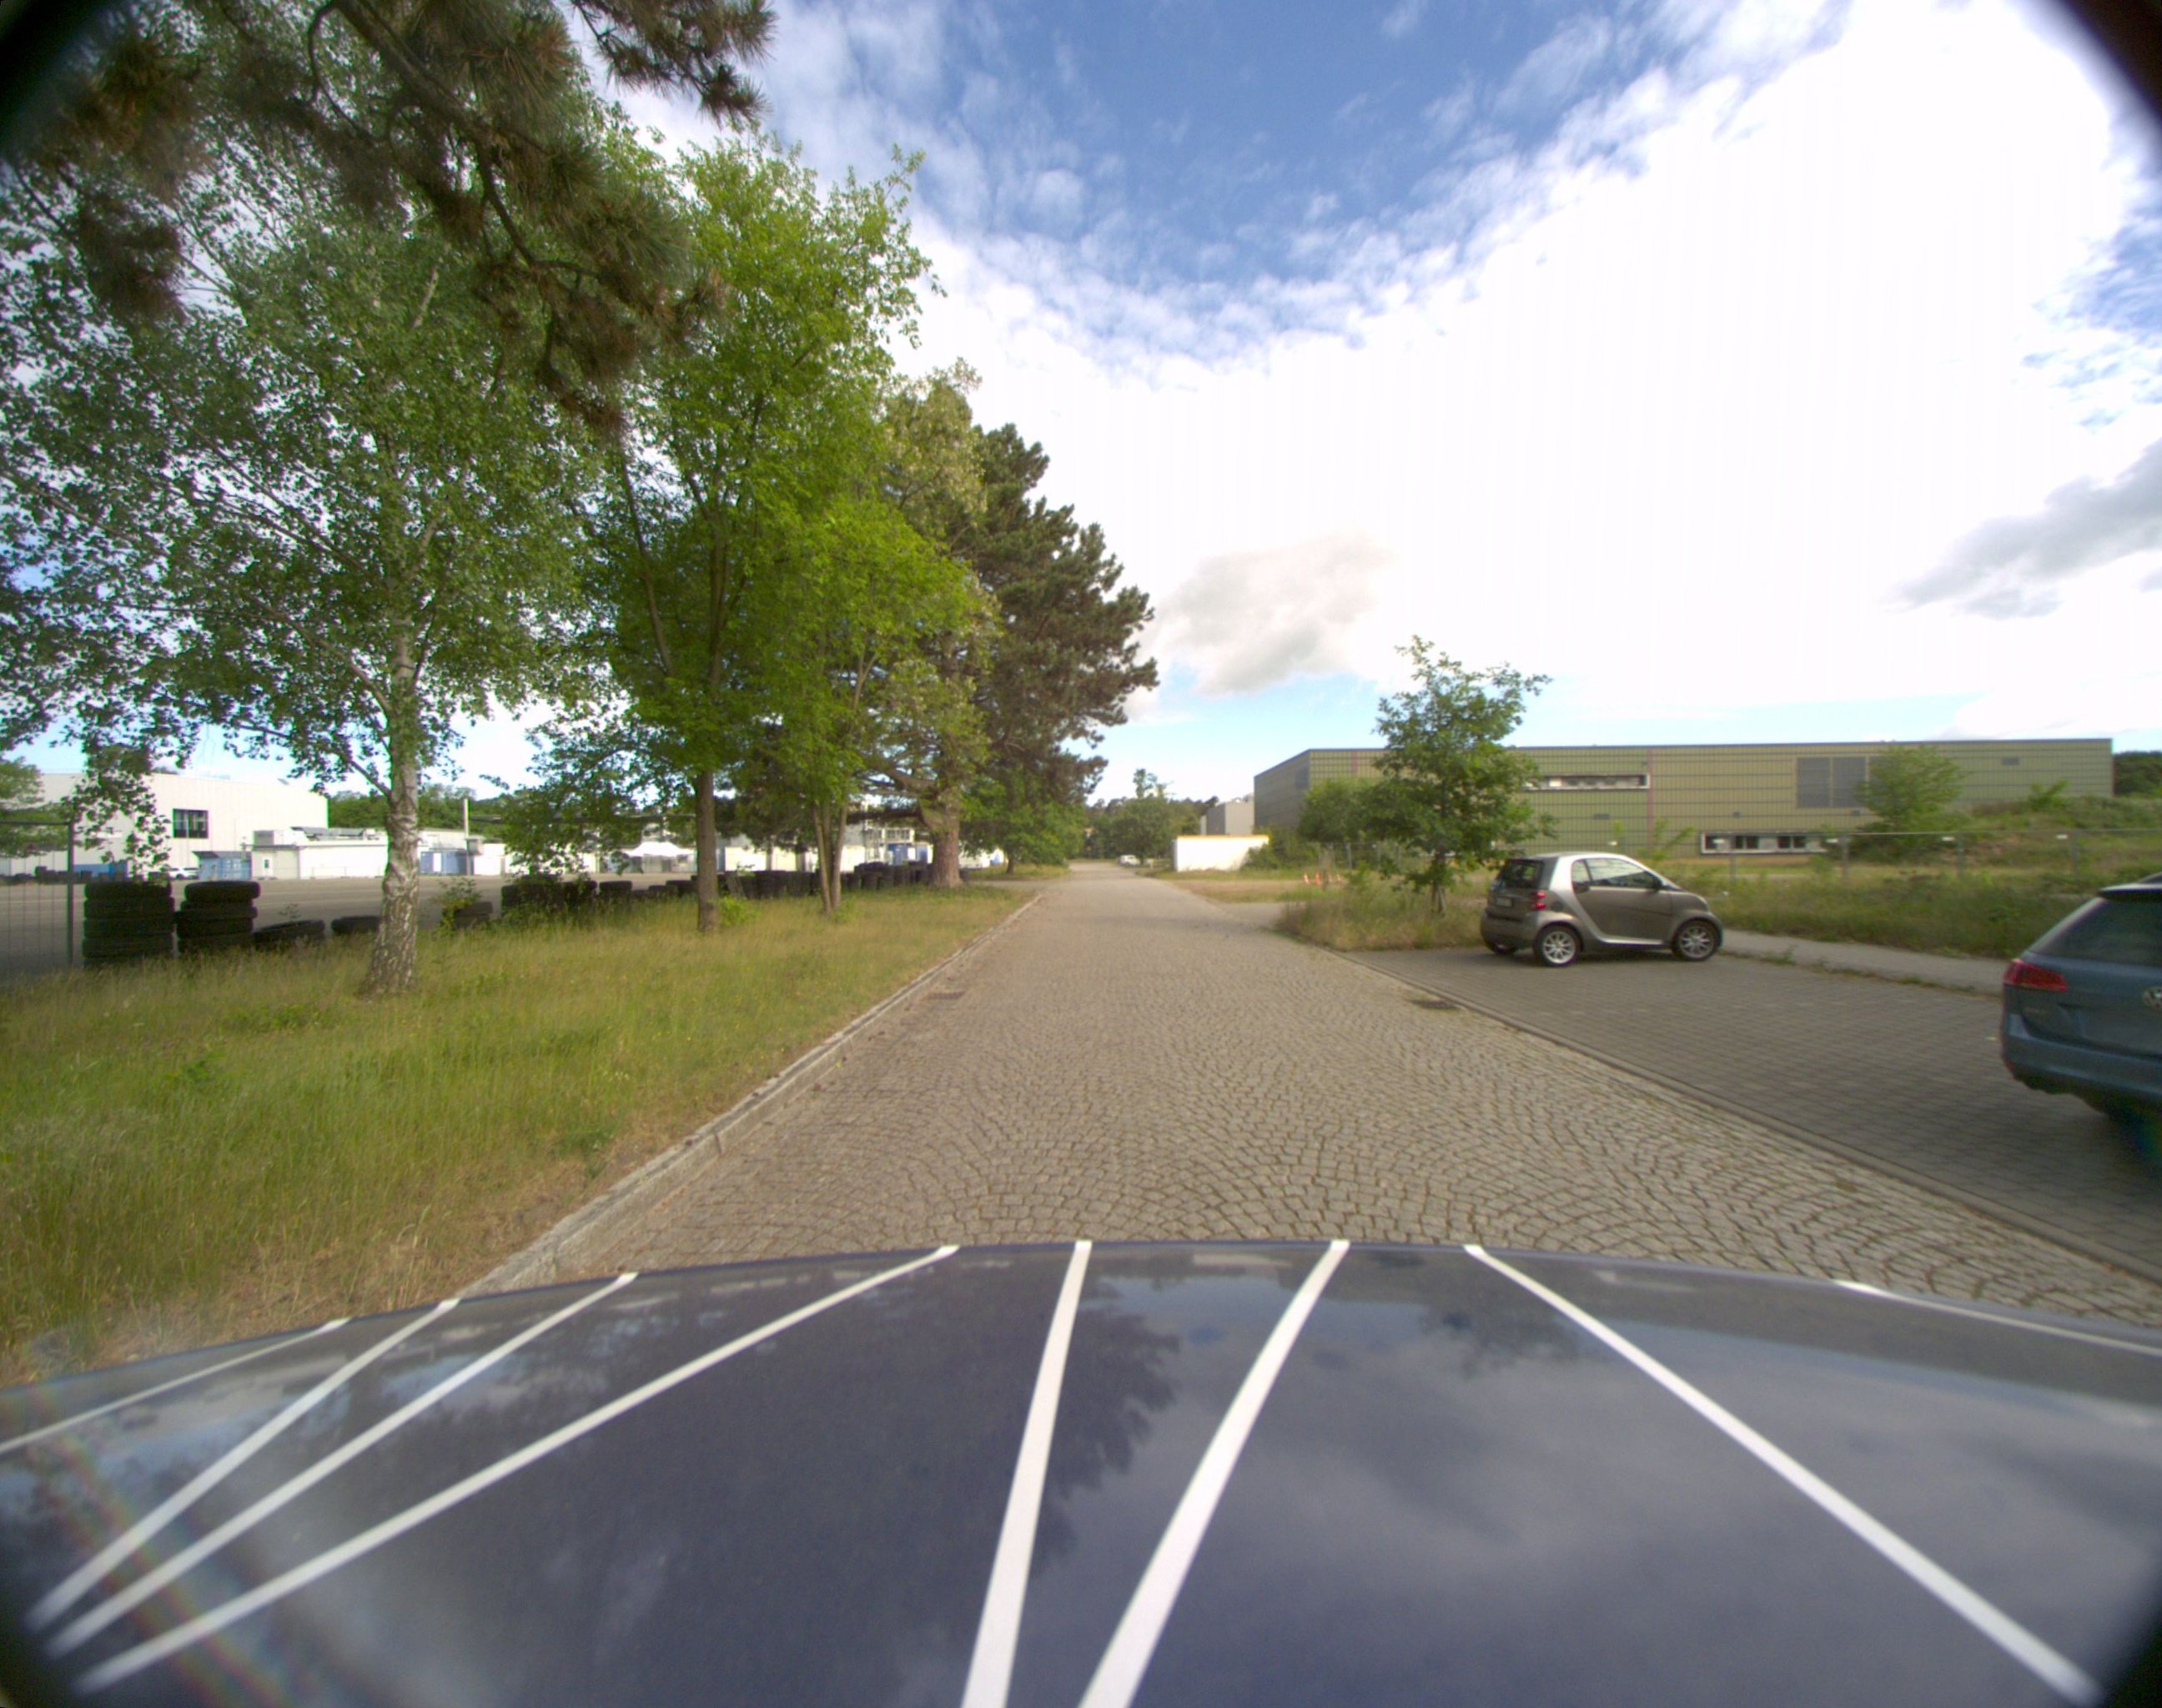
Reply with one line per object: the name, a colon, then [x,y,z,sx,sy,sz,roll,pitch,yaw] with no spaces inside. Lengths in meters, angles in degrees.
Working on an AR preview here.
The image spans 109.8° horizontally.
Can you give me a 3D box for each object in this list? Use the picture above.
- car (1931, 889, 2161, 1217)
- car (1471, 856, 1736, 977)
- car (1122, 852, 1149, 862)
car: [7.126,0.890,3.603,4.317,1.420,1.773,-2,0,-2]
car: [7.348,0.829,10.885,2.661,1.502,1.610,-2,0,0]
car: [8.472,0.490,118.107,3.996,1.604,1.797,0,0,4]
